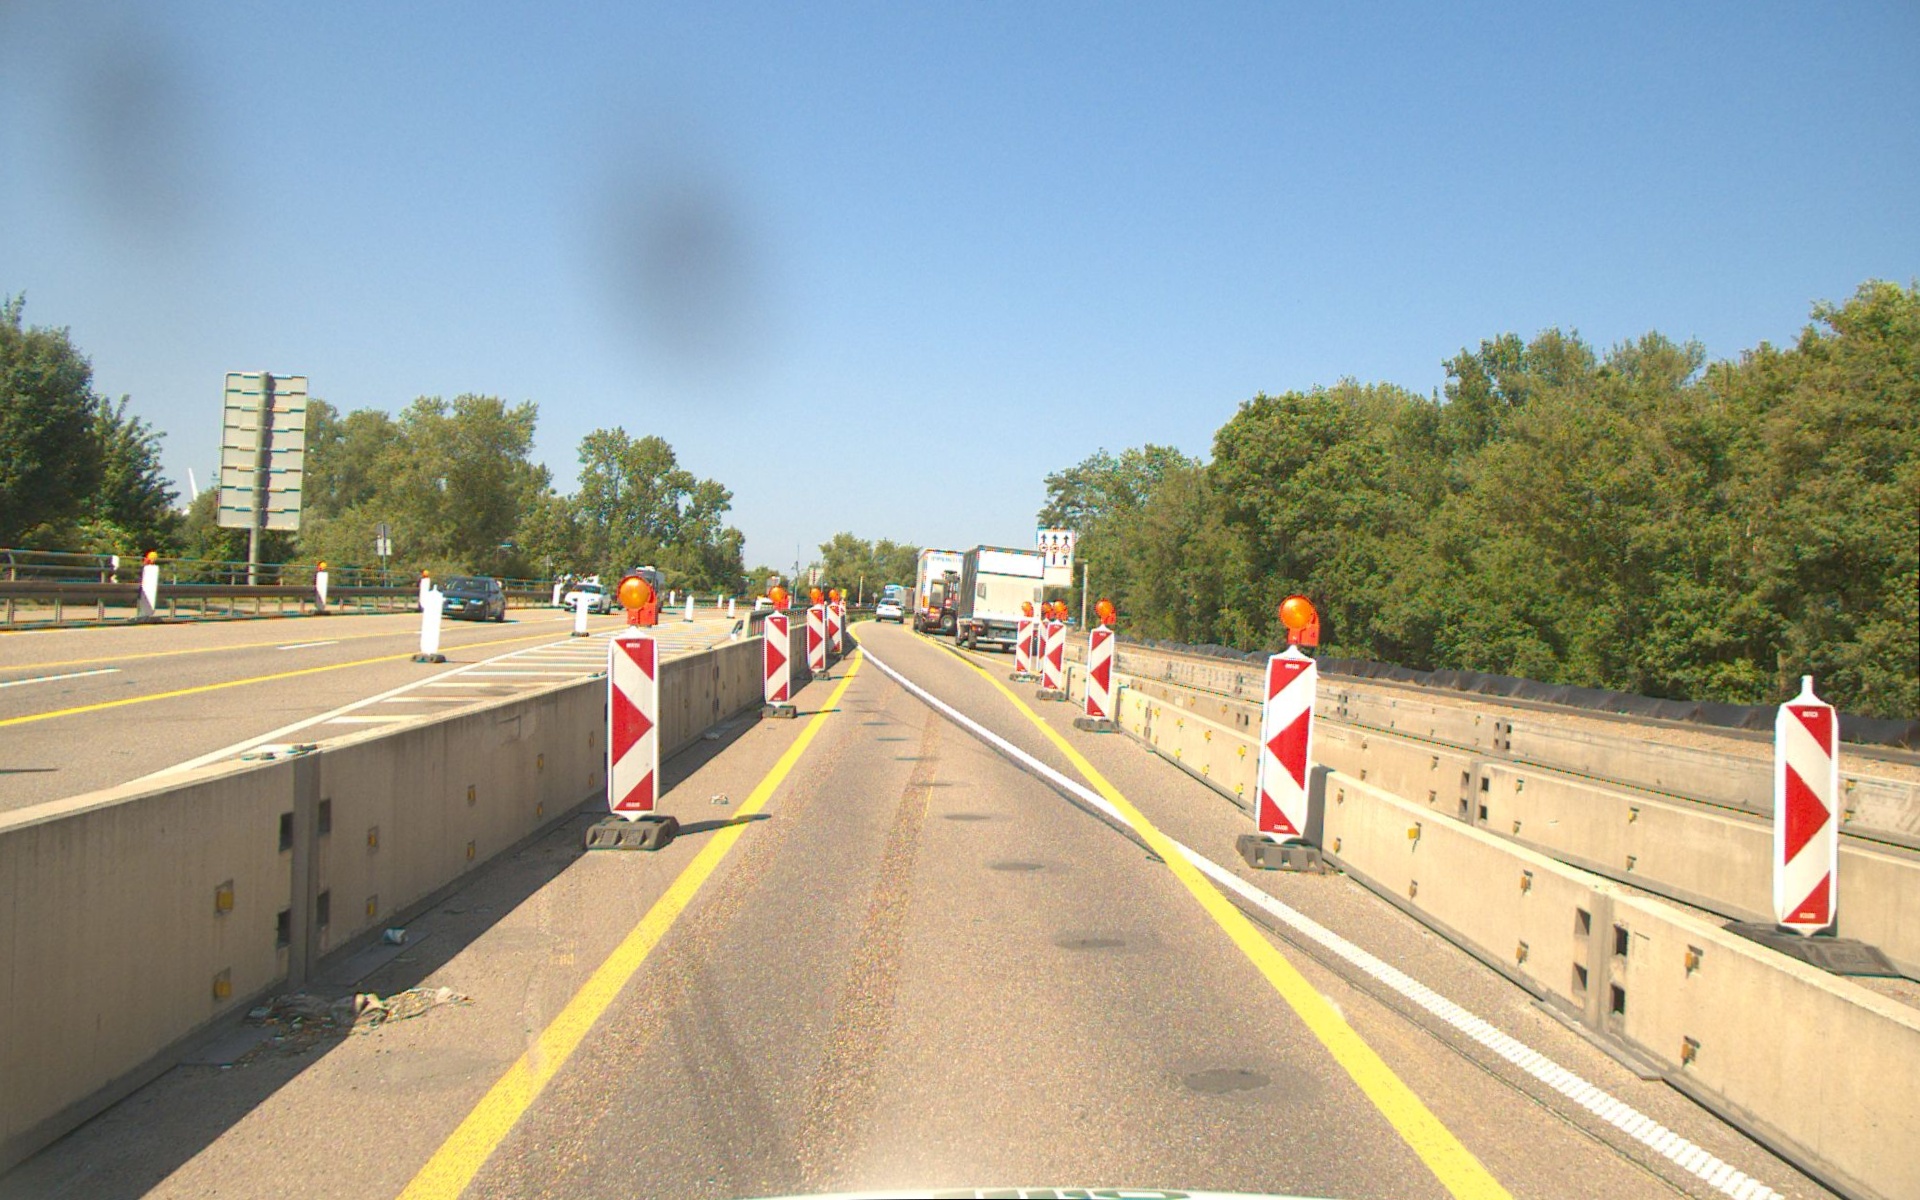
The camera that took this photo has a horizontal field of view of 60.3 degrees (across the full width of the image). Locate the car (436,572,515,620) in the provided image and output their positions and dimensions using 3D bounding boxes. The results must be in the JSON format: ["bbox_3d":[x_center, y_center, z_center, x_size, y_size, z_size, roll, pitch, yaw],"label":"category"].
[{"bbox_3d":[-16.295,-0.150,55.839,1.704,1.501,4.639,2,0,-6],"label":"car"}]

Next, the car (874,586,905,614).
[{"bbox_3d":[-4.796,-0.014,112.514,1.782,1.807,3.995,2,0,-6],"label":"car"}]

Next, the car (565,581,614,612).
[{"bbox_3d":[-18.304,-0.175,81.848,1.686,1.421,4.515,4,0,-5],"label":"car"}]

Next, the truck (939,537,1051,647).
[{"bbox_3d":[1.096,-0.289,57.284,2.585,3.487,7.219,2,0,-9],"label":"truck"}]

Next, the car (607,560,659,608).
[{"bbox_3d":[-19.559,-0.945,99.126,2.103,2.707,5.543,3,0,-2],"label":"car"}]

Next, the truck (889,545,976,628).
[{"bbox_3d":[-1.452,-0.667,81.924,3.325,3.840,7.219,2,0,-9],"label":"truck"}]
